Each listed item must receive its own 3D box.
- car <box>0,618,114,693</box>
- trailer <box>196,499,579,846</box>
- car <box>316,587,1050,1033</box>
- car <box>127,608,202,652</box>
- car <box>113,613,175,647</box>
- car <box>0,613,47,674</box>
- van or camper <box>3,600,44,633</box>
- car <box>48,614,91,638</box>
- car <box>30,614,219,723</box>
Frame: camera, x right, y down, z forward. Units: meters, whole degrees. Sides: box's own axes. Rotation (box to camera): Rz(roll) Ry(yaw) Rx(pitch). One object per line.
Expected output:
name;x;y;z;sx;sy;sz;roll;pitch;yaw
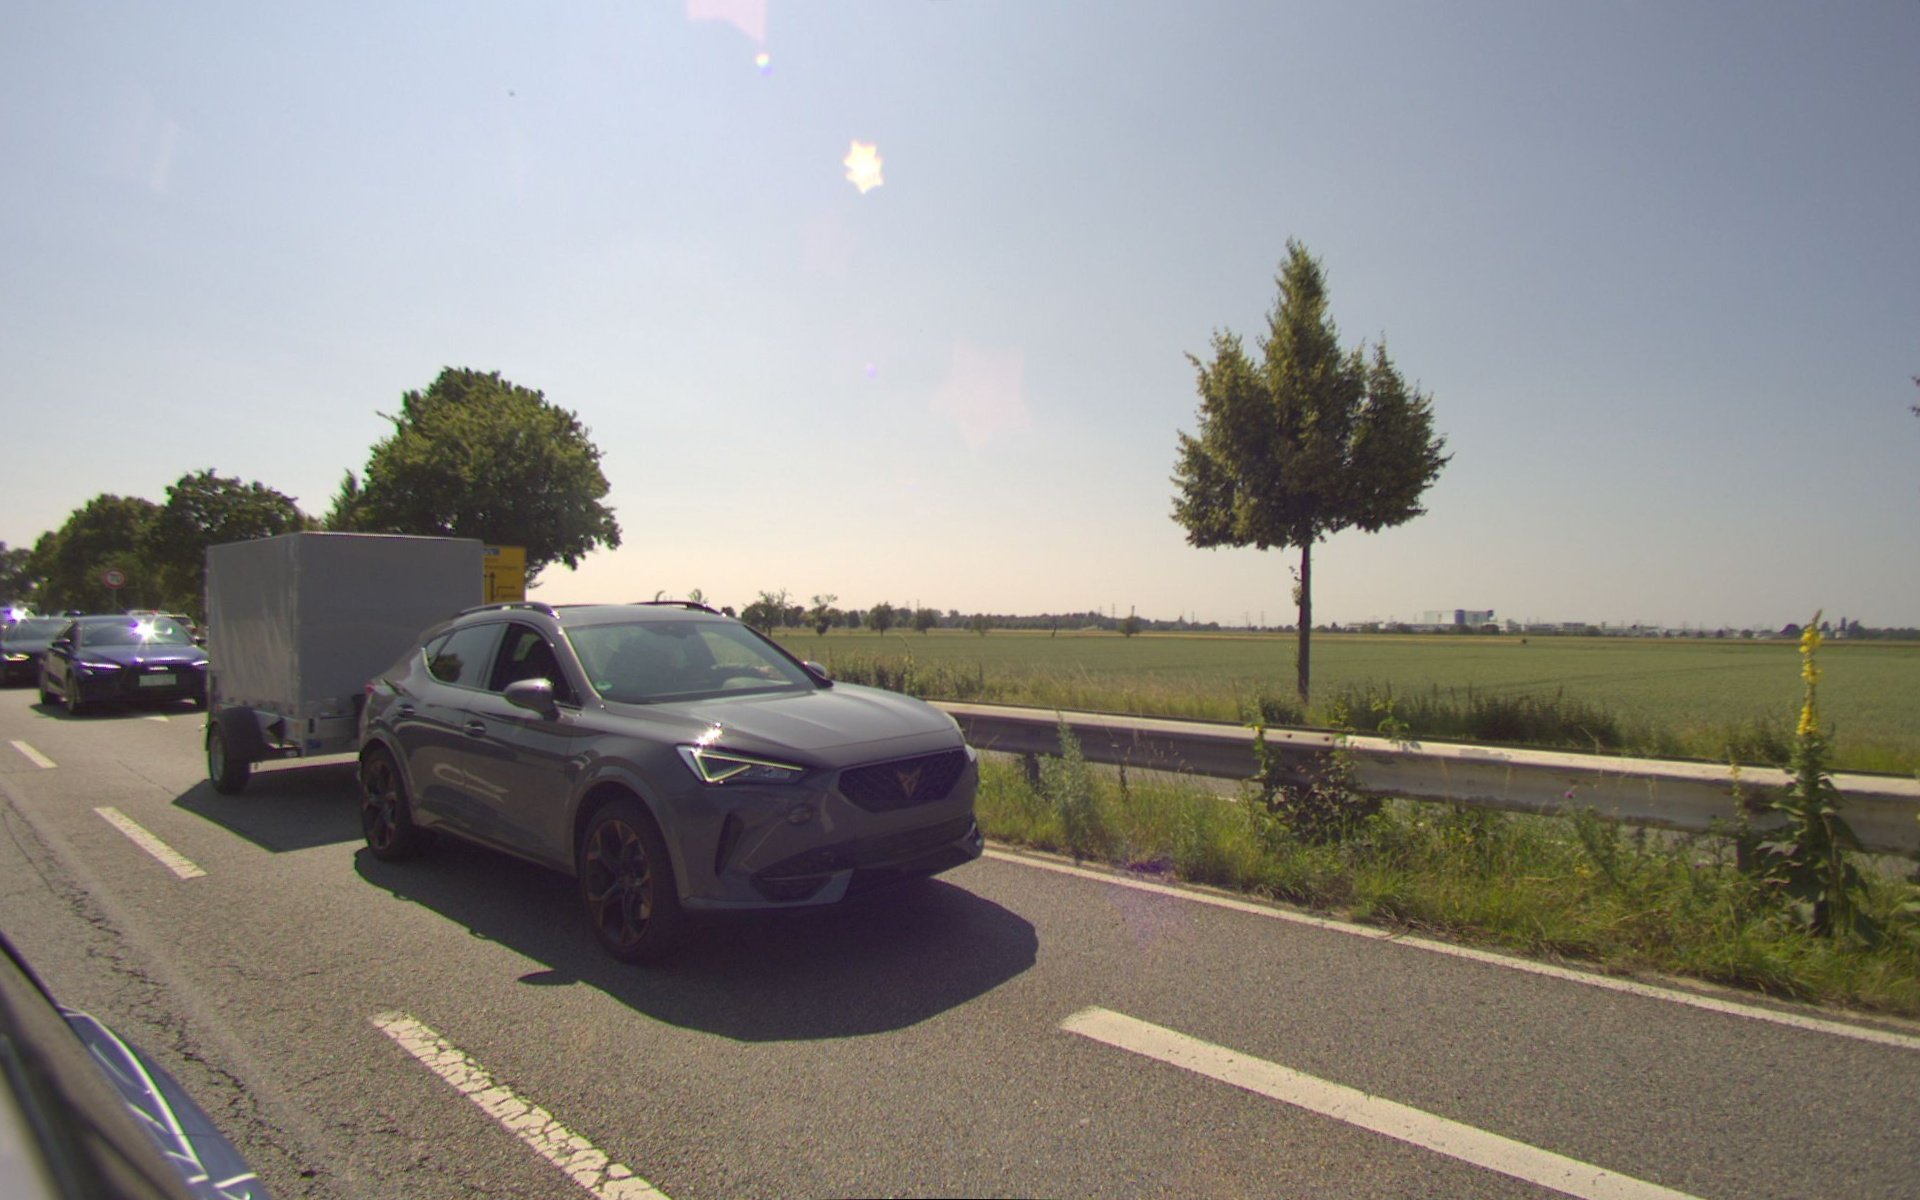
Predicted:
car;-19.335;1.088;21.314;4.454;1.391;1.722;-1;0;42
trailer;-4.877;0.490;8.344;4.172;2.190;1.484;-1;-1;42
car;-1.790;0.745;5.530;4.360;1.514;1.728;-1;-1;40
car;-31.533;1.189;40.081;4.136;1.651;1.726;-1;-2;43
car;-49.033;1.789;60.747;5.012;1.945;1.973;-1;-2;40
car;-25.611;1.116;26.755;4.100;1.527;1.835;-1;-1;43
van or camper;-91.997;1.678;99.348;5.691;3.123;2.240;-1;-2;40
car;-69.597;2.028;79.065;4.693;1.870;1.838;-1;-2;40
car;-13.129;0.968;15.825;4.029;1.476;1.699;-1;-1;42
